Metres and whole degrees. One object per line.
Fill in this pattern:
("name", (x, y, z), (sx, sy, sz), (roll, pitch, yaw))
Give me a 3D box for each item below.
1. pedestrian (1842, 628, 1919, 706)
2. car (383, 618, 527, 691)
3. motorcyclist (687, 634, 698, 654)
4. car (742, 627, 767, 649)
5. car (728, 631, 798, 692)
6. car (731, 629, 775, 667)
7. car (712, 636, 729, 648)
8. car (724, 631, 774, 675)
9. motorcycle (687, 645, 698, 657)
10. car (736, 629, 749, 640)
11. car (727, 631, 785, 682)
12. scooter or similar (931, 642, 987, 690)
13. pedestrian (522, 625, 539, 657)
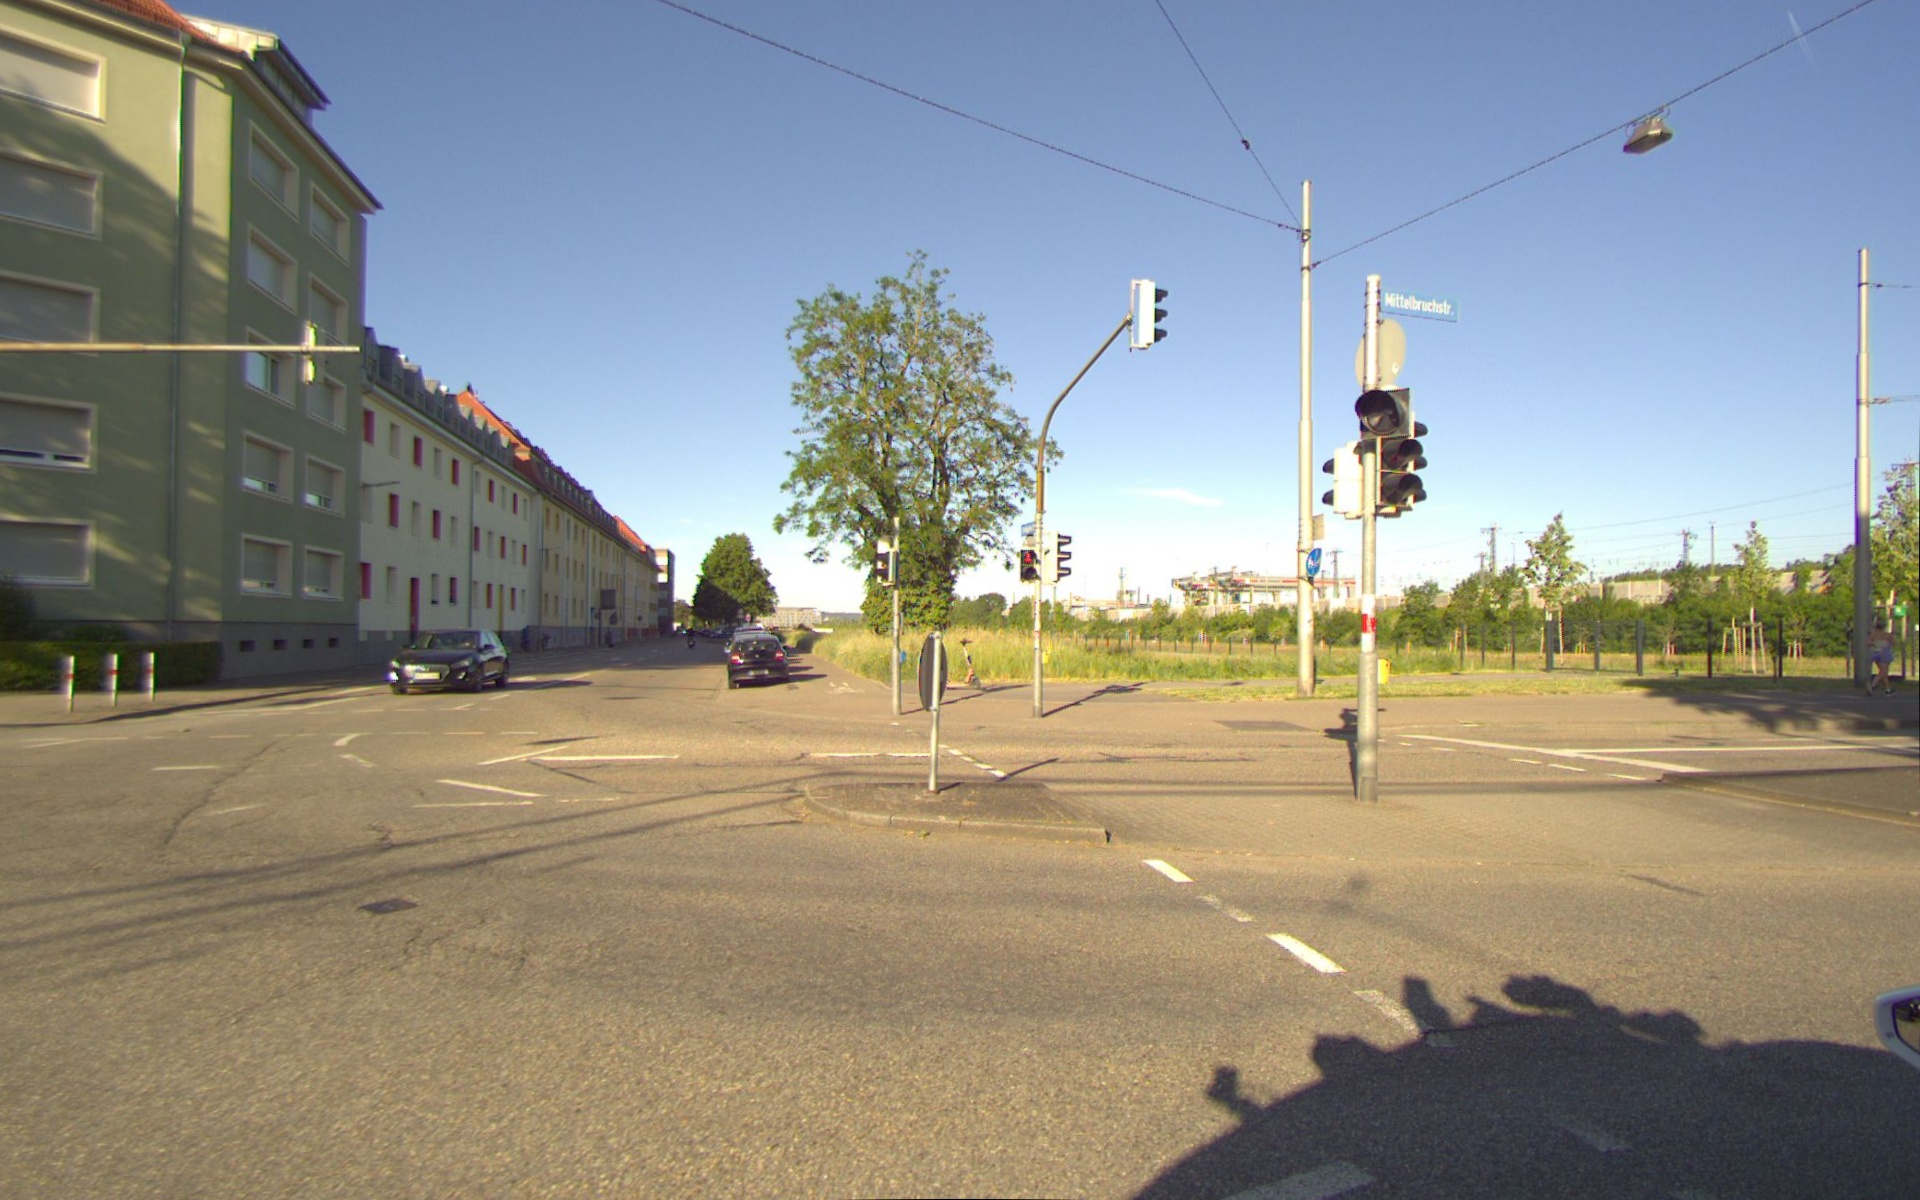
("pedestrian", (20.467, 1.470, 22.252), (1.159, 1.651, 0.834), (-1, 0, -10))
("car", (-11.667, 1.230, 23.539), (1.907, 1.513, 4.200), (-1, -2, -11))
("motorcyclist", (-20.757, 3.421, 78.003), (0.701, 1.508, 0.957), (2, 0, -12))
("car", (-16.335, 3.022, 79.753), (1.672, 1.550, 3.891), (-3, -1, -15))
("car", (-5.785, 1.745, 29.145), (1.672, 1.550, 3.891), (-3, -1, -15))
("car", (-9.440, 2.164, 45.687), (1.672, 1.550, 3.891), (-3, -1, -15))
("car", (-30.774, 5.419, 129.045), (1.907, 1.513, 4.200), (-1, -2, -11))
("car", (-8.405, 2.082, 39.781), (1.672, 1.550, 3.891), (-3, -1, -15))
("motorcycle", (-20.768, 3.951, 77.988), (0.657, 0.886, 1.996), (-1, -2, -11))
("car", (-32.615, 5.220, 150.481), (1.672, 1.550, 3.891), (-3, -1, -15))
("car", (-7.102, 1.910, 34.652), (1.672, 1.550, 3.891), (-3, -1, -15))
("scooter or similar", (-0.028, 1.616, 24.665), (1.244, 1.159, 0.594), (-1, -2, 29))
("pedestrian", (-26.899, 2.548, 62.919), (0.728, 1.898, 0.743), (4, -1, -14))
